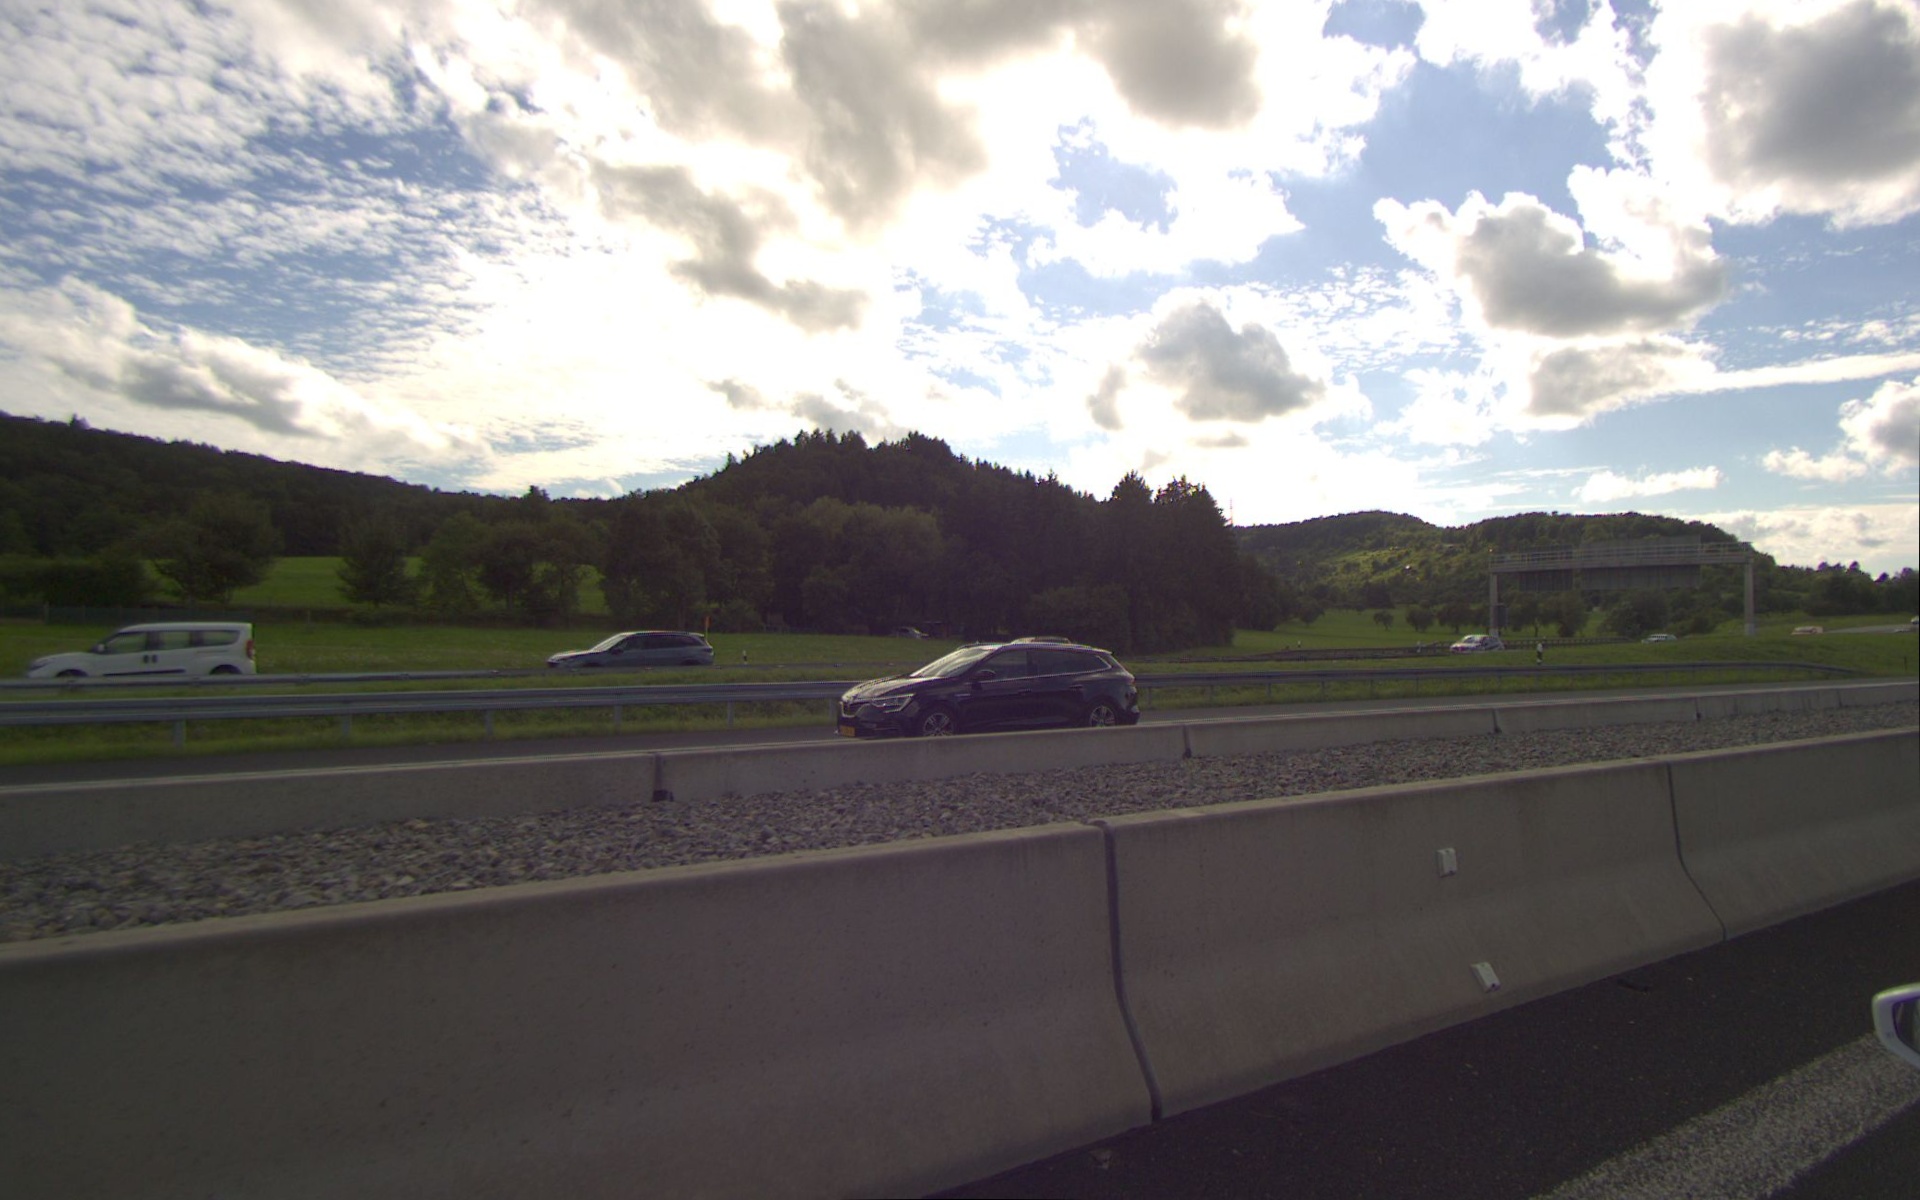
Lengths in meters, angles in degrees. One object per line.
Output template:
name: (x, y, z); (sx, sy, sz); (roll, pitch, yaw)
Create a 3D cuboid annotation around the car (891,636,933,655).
car: (-4.791, 4.509, 99.869); (3.939, 1.706, 1.991); (0, -1, 39)

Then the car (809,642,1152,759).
car: (0.366, 1.311, 14.177); (4.636, 1.420, 1.746); (2, -3, -30)

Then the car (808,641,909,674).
car: (-5.052, 2.857, 50.412); (4.842, 1.568, 1.761); (2, -3, -36)

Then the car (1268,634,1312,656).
car: (30.942, 4.233, 94.131); (3.959, 2.040, 1.982); (2, -3, -34)

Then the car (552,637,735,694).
car: (-9.222, 1.886, 29.499); (4.842, 1.568, 1.761); (2, -3, -36)

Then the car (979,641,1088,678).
car: (3.311, 2.595, 44.519); (4.842, 1.568, 1.761); (2, -3, -36)

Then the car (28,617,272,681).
car: (-21.126, 1.291, 26.514); (4.842, 1.568, 1.761); (2, -3, -36)
